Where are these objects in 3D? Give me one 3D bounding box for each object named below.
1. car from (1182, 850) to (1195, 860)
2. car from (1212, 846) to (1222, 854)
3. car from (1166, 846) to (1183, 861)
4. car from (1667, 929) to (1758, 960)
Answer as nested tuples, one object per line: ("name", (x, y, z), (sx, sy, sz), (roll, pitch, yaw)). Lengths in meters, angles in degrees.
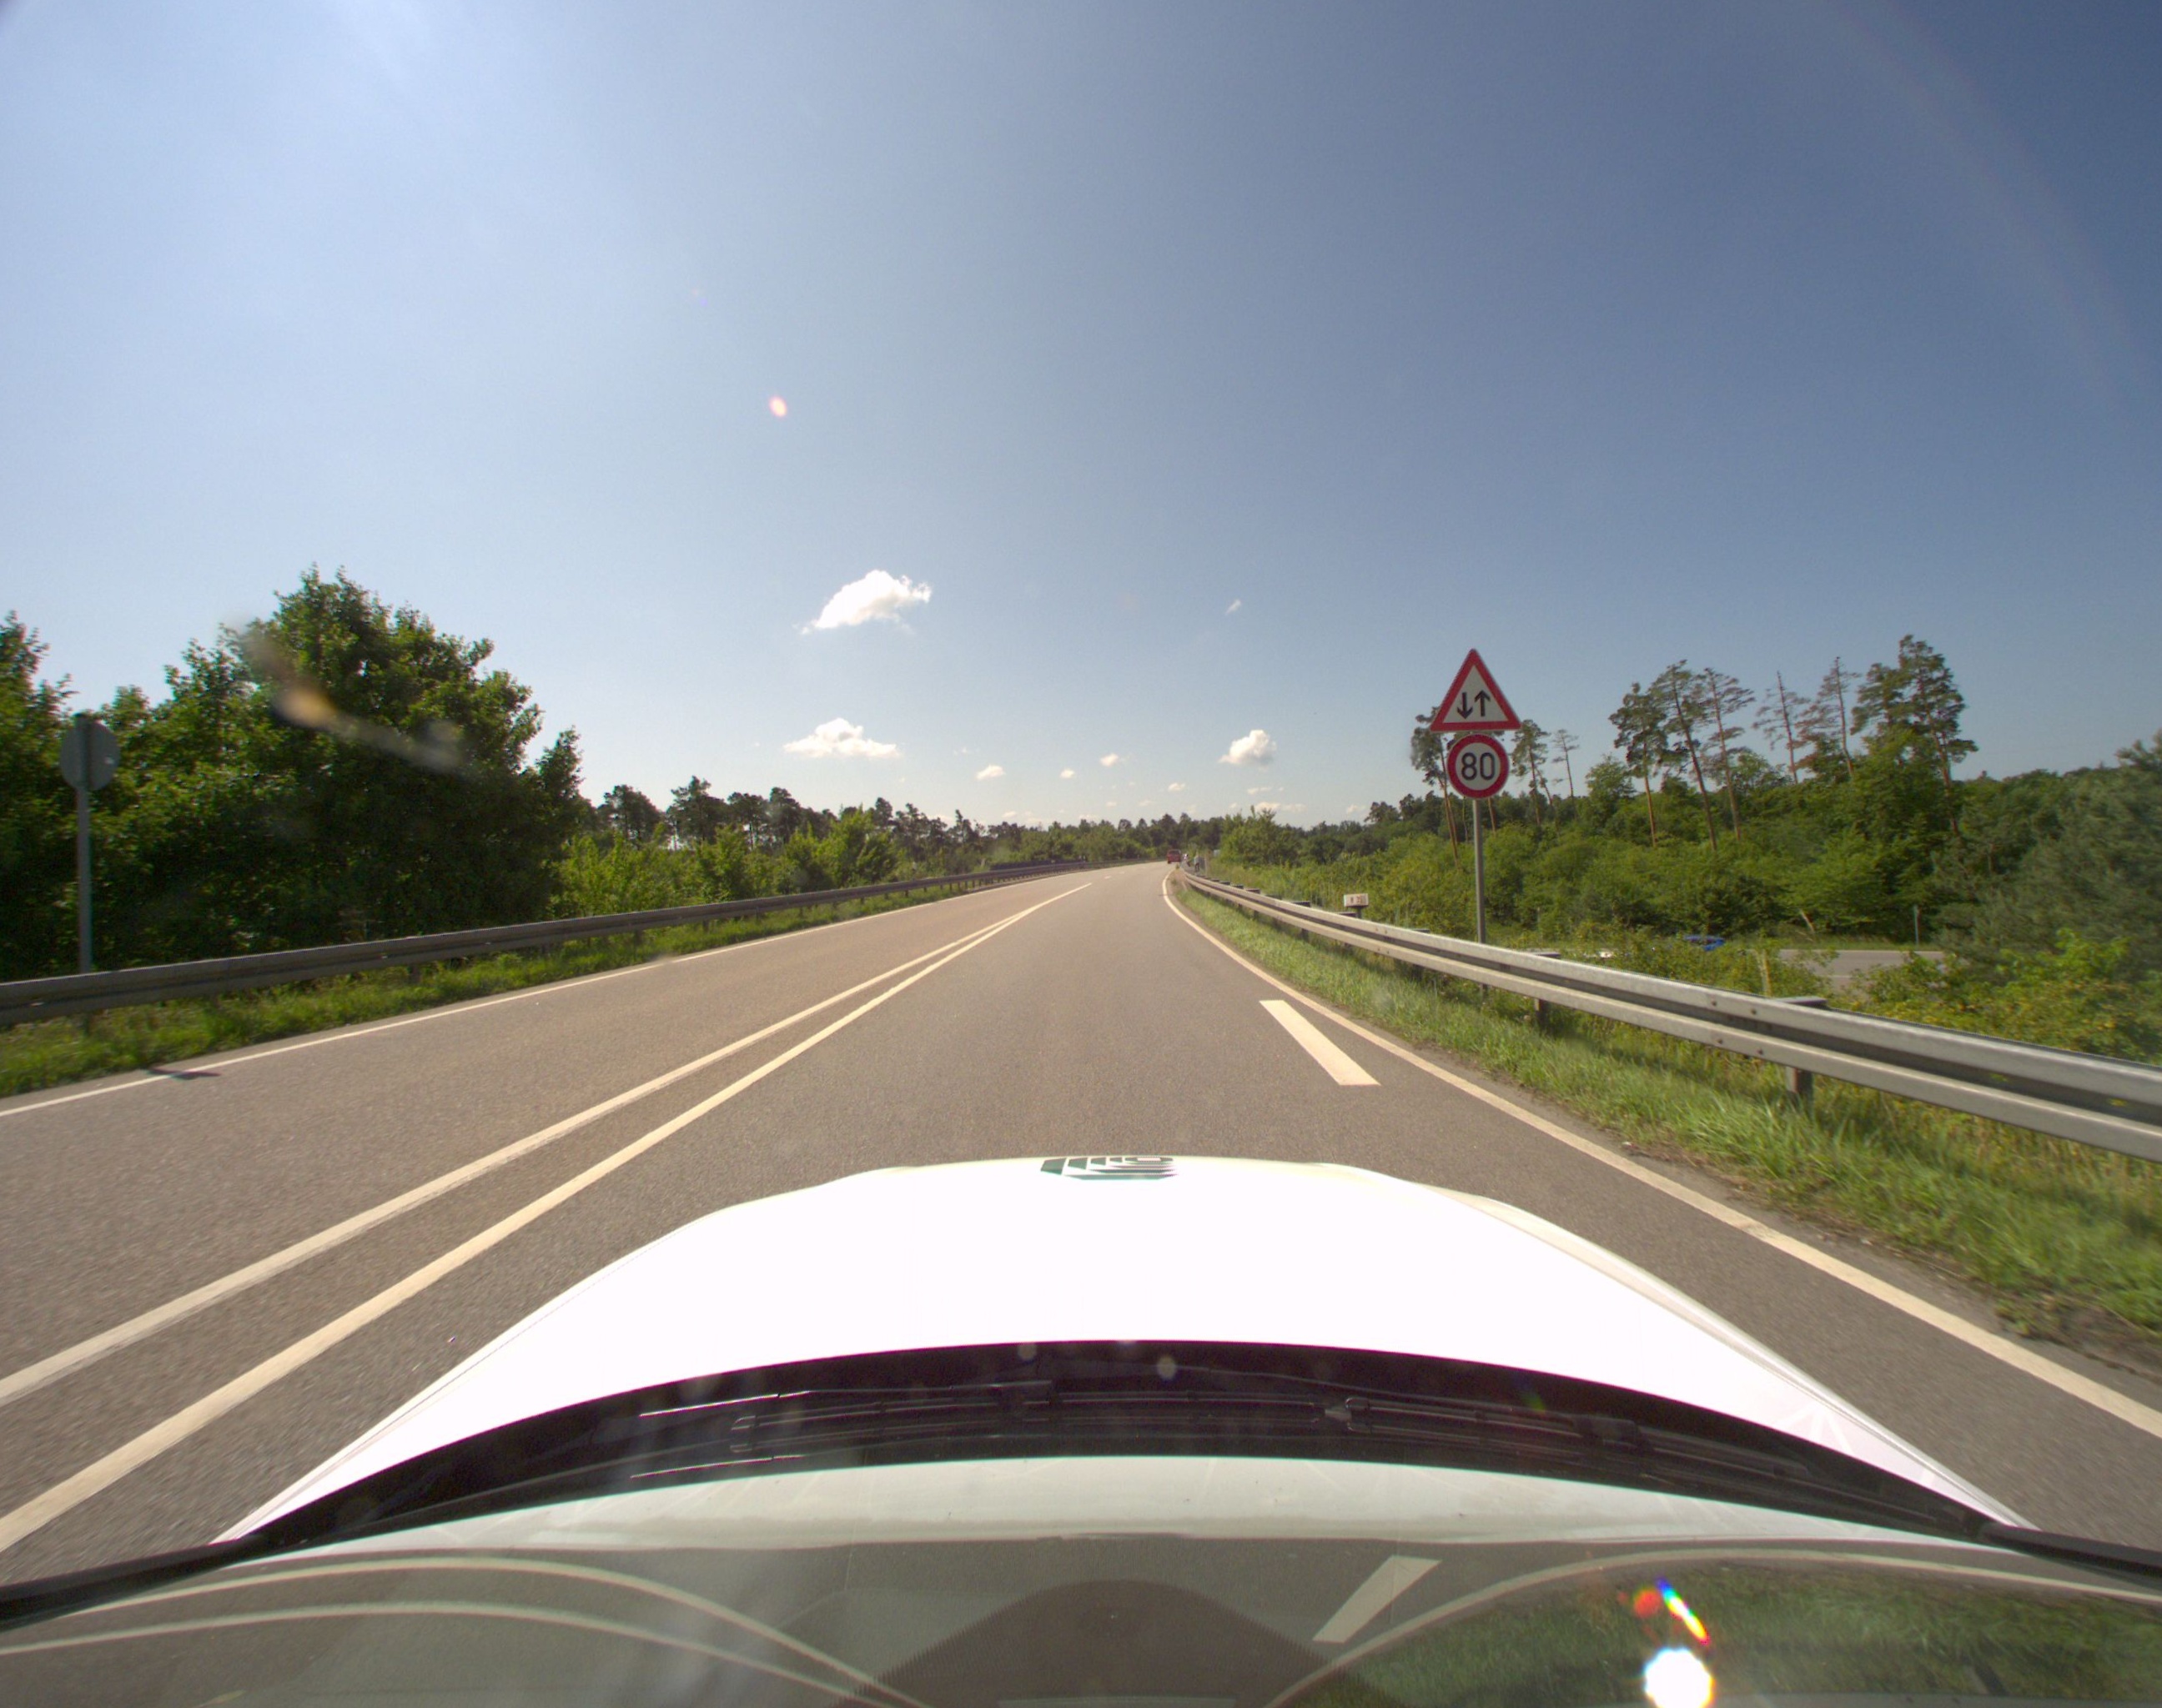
("car", (17.915, 0.179, 135.909), (1.996, 1.494, 4.249), (-1, 0, 8))
("car", (32.294, -0.905, 193.180), (2.171, 1.955, 5.821), (-1, 0, 11))
("car", (13.107, -0.044, 113.968), (2.065, 1.993, 5.124), (-1, 0, 8))
("car", (38.003, 5.435, 49.128), (3.951, 1.552, 2.011), (-1, 0, 24))
